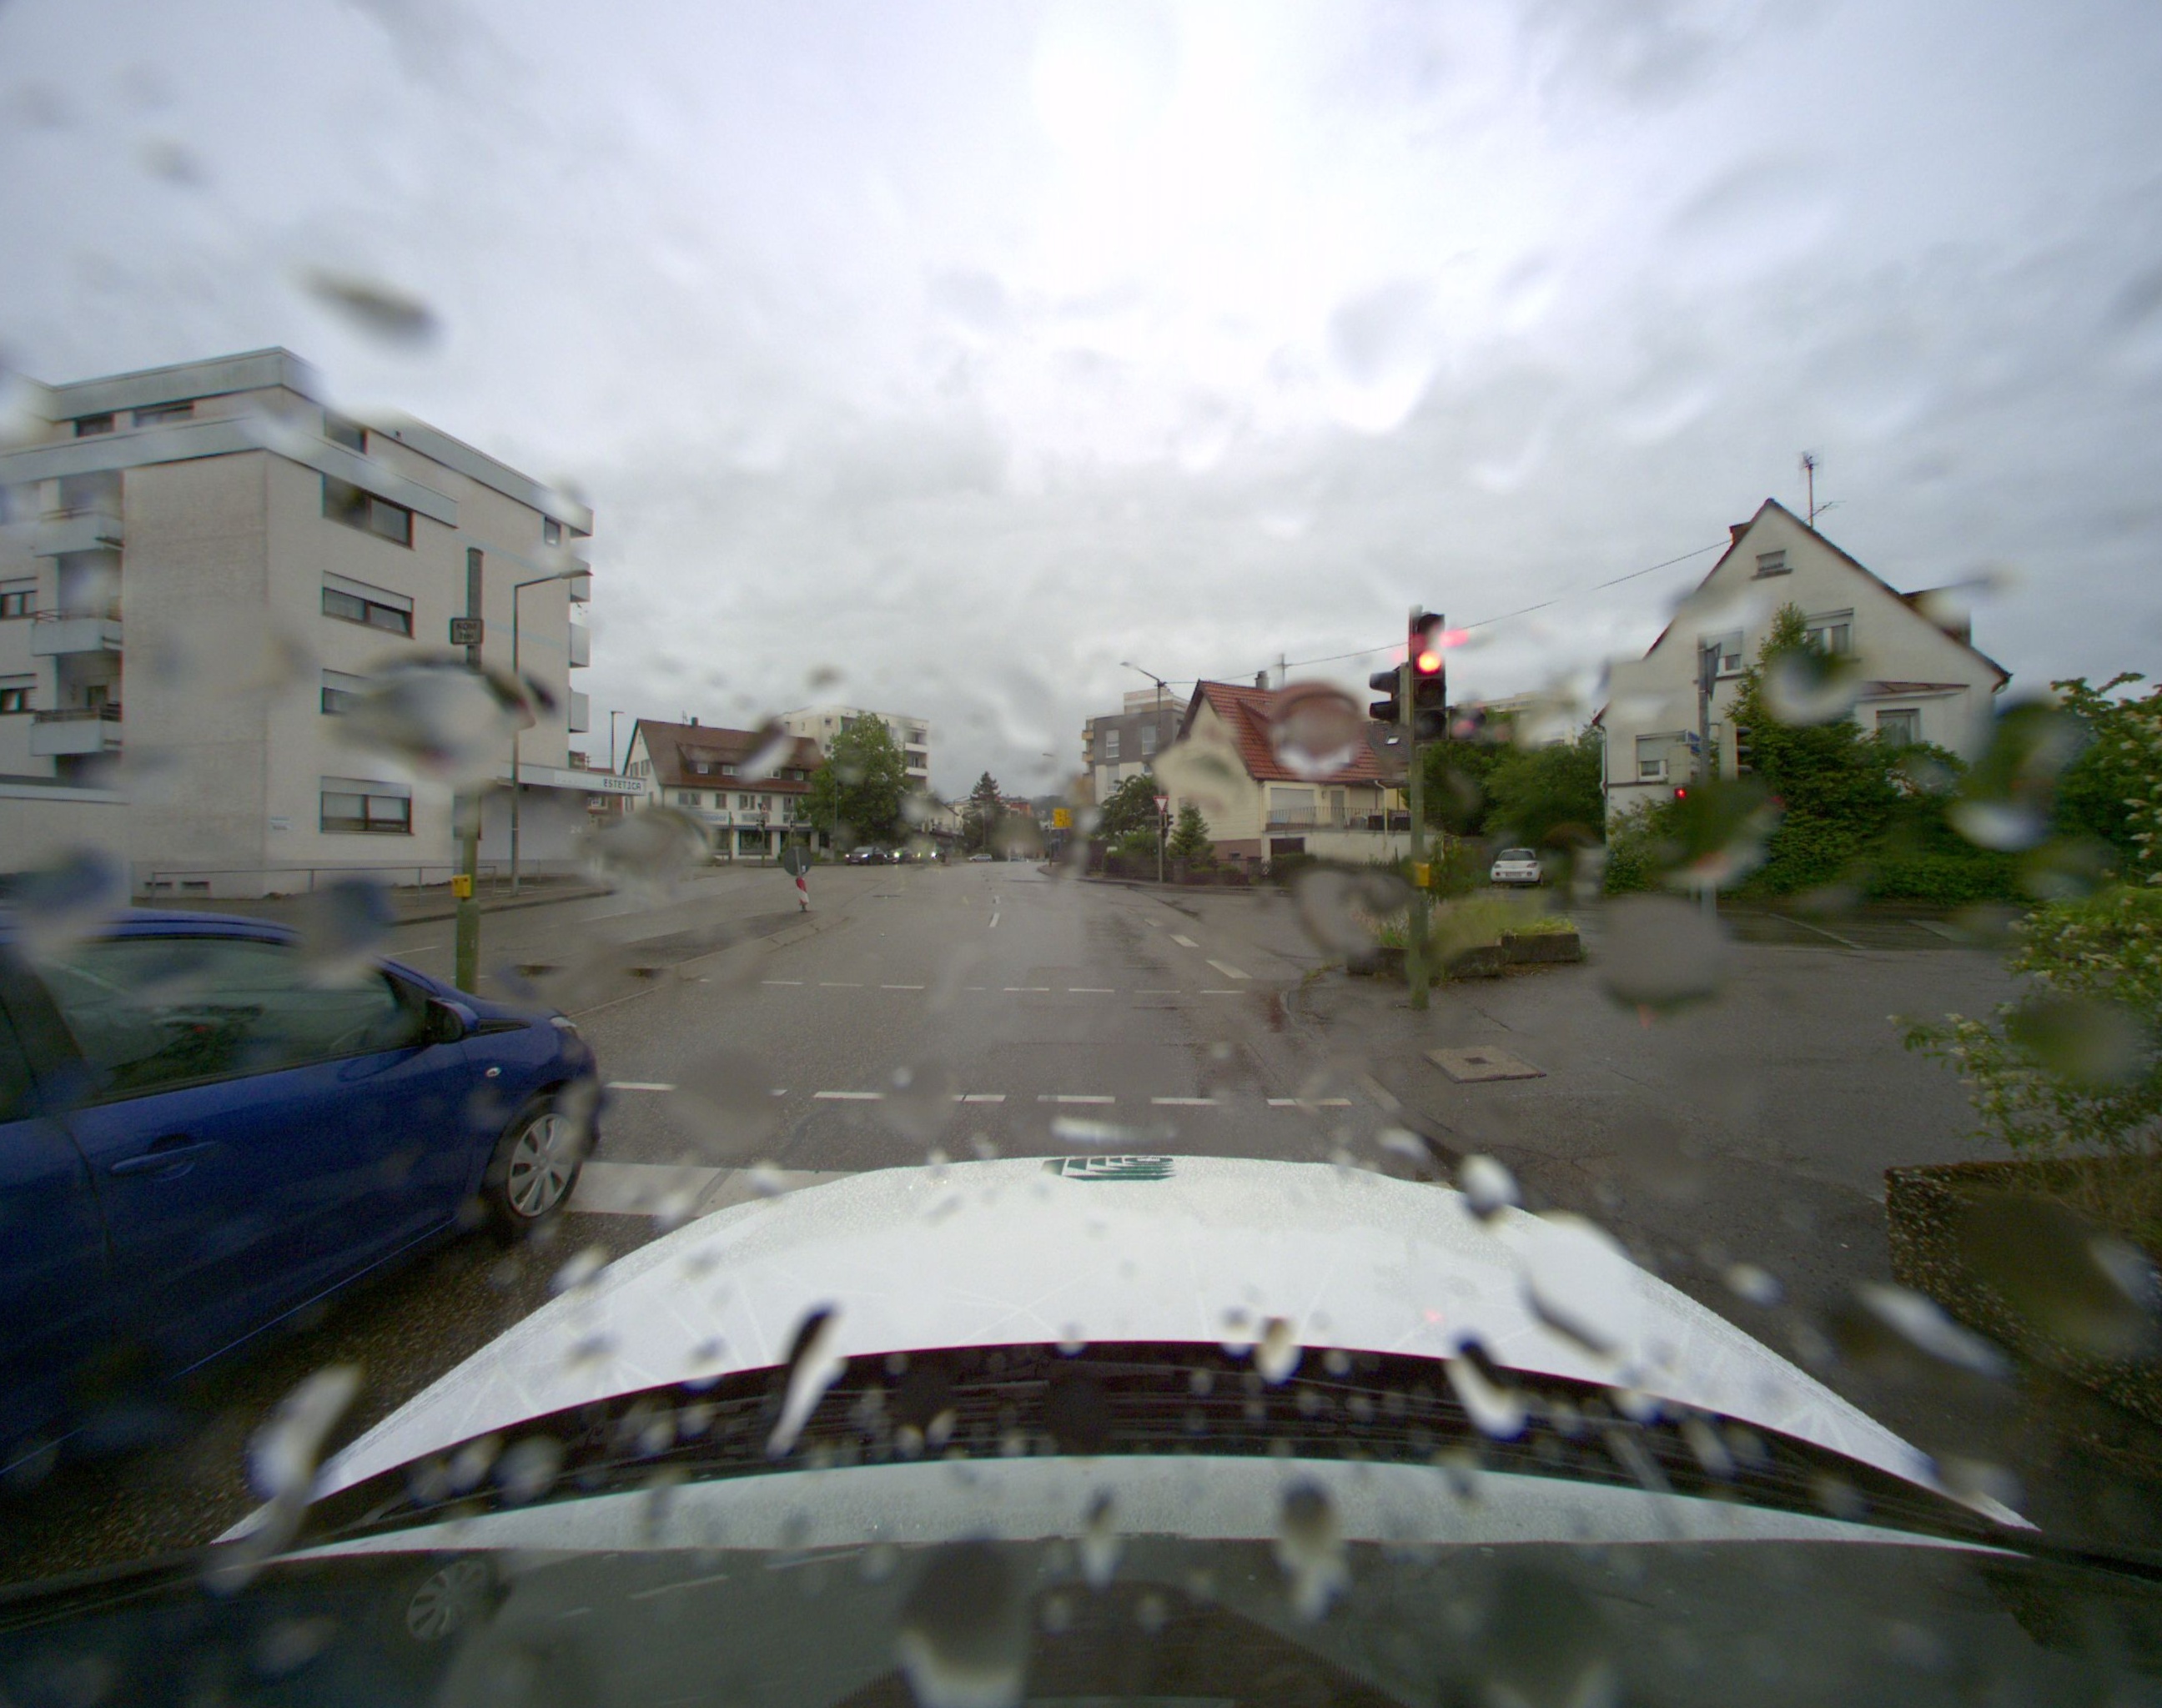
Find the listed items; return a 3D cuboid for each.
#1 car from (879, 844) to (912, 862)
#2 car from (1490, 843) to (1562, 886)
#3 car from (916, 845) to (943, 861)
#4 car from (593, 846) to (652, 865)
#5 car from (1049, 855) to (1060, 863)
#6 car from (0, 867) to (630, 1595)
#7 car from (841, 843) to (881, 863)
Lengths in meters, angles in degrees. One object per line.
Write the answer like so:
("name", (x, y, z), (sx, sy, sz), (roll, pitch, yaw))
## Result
("car", (-15.317, -0.104, 67.557), (1.709, 1.387, 4.022), (0, 1, 2))
("car", (16.987, 0.344, 30.998), (1.723, 1.514, 4.025), (0, 1, 39))
("car", (-14.414, -0.093, 77.661), (1.772, 1.420, 3.832), (0, 1, 1))
("car", (-38.577, 0.119, 68.552), (3.989, 1.572, 1.850), (-1, 1, -42))
("car", (-5.523, 1.008, 171.052), (1.806, 1.486, 4.192), (-1, 1, 2))
("car", (-2.952, 0.786, 2.173), (1.573, 1.410, 3.272), (0, 1, 2))
("car", (-16.230, -0.065, 60.247), (1.772, 1.420, 3.832), (0, 1, 1))
